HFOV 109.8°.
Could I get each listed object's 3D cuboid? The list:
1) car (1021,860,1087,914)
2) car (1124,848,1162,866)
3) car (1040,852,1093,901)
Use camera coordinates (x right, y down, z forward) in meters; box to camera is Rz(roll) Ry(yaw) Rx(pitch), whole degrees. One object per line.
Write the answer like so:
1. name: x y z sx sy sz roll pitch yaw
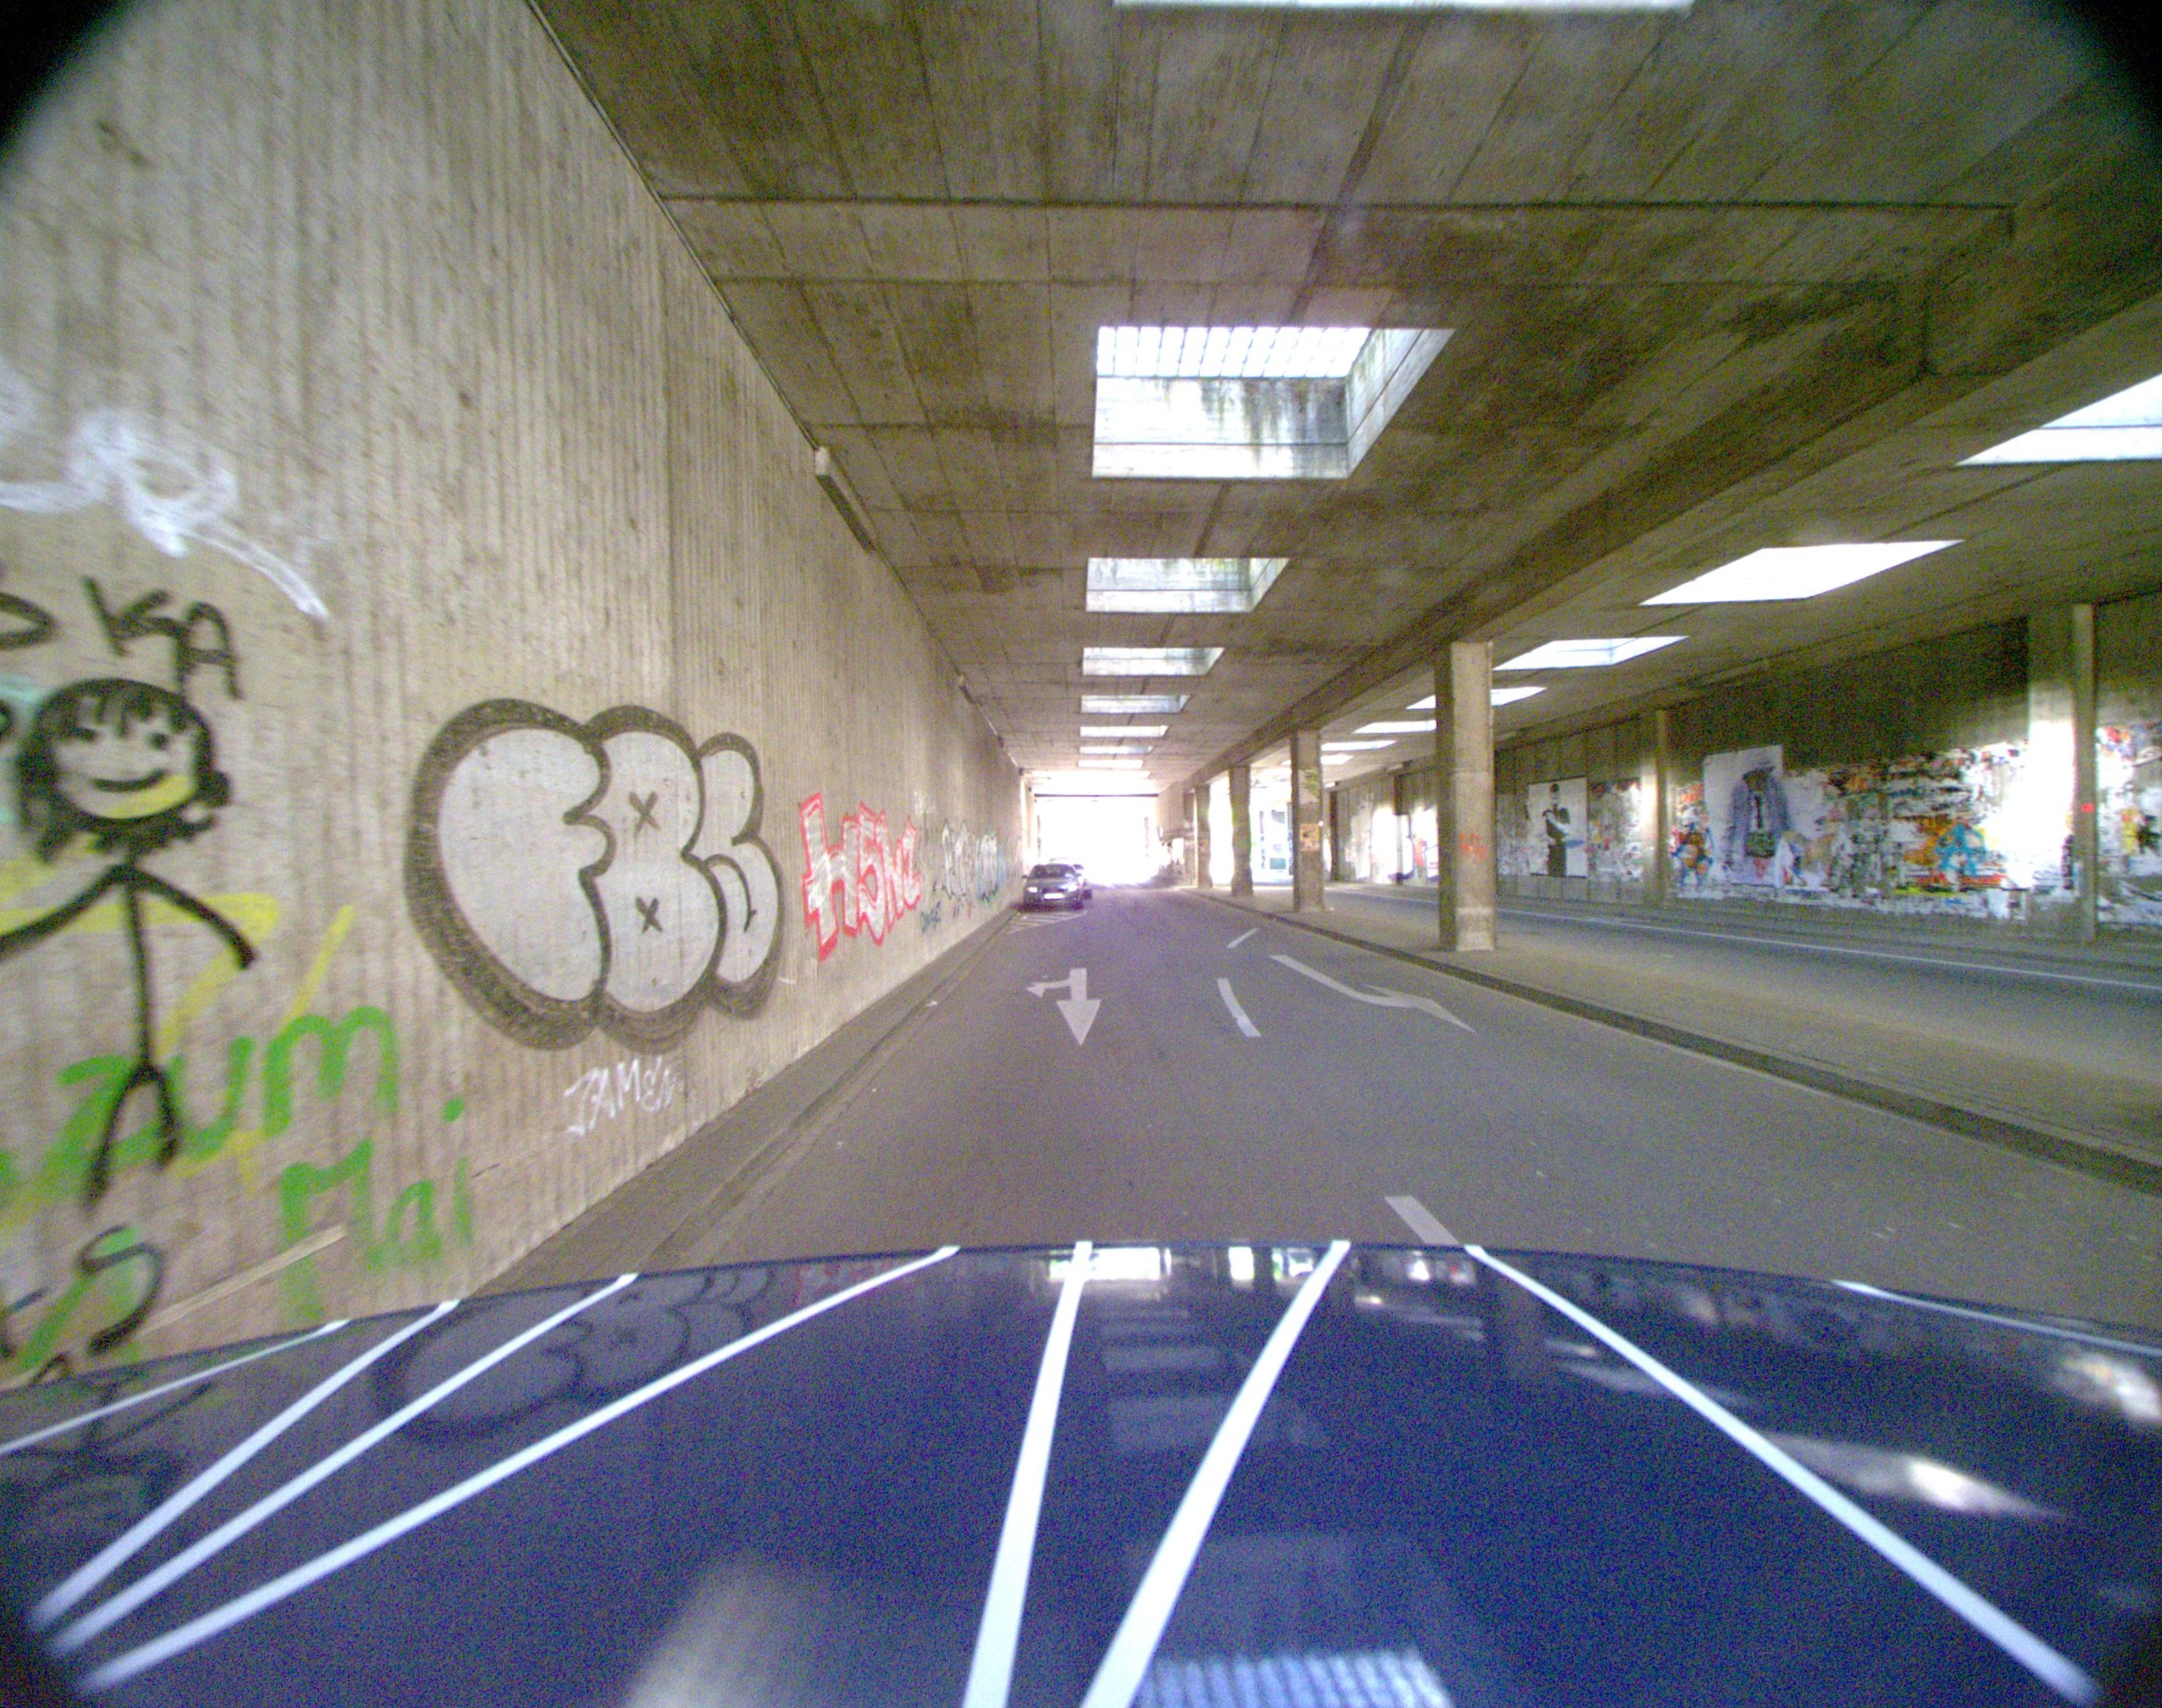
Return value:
1. car: -0.752 0.953 23.539 1.808 1.460 4.000 -2 0 1
2. car: 6.844 0.336 84.208 3.998 1.841 1.811 -1 0 -3
3. car: -0.486 0.807 29.284 1.861 1.709 4.000 -2 0 1
